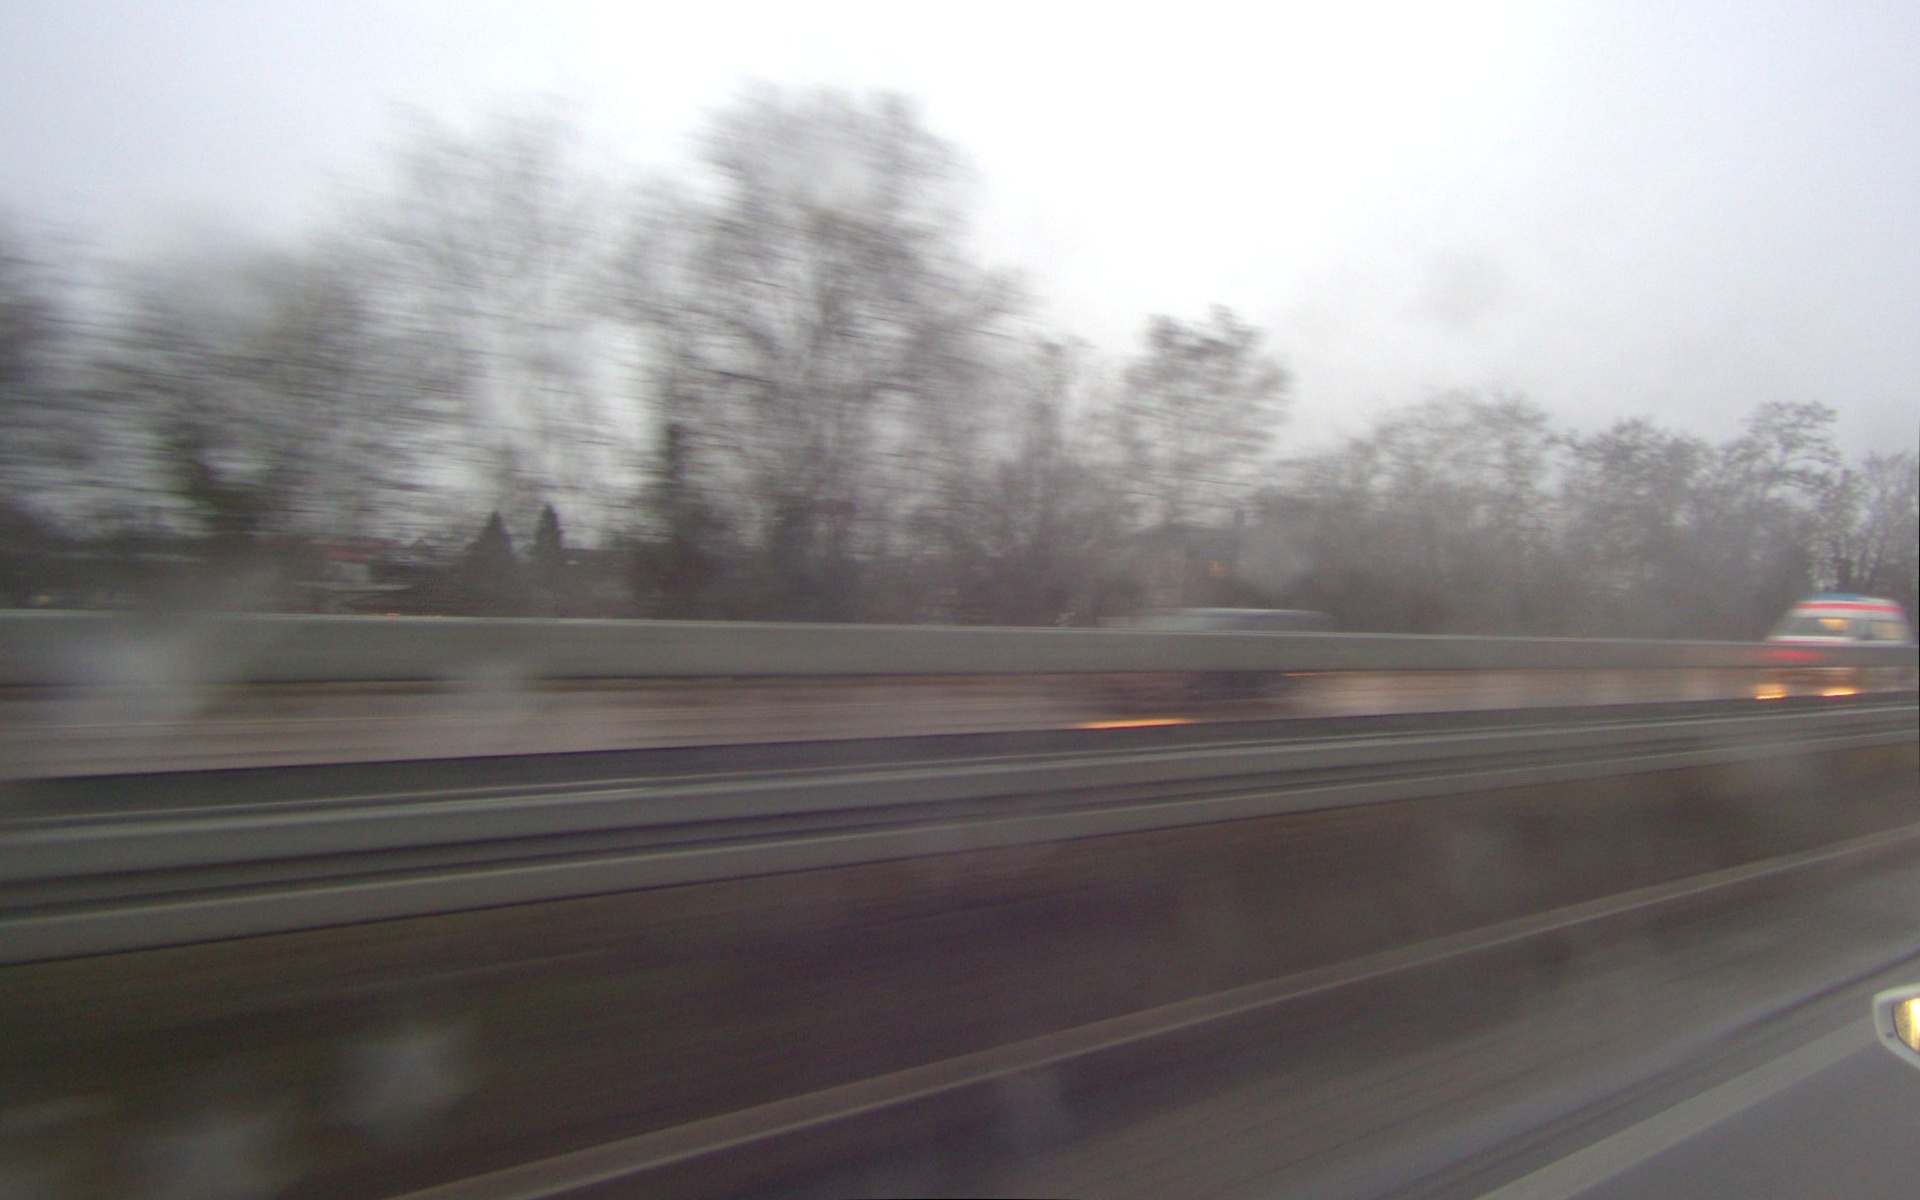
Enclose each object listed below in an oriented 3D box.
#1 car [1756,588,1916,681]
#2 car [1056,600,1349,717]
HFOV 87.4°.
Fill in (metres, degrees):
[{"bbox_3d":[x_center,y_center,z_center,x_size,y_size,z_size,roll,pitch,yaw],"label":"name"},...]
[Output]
[{"bbox_3d":[25.174,0.974,28.811,5.353,2.469,1.836,2,0,-30],"label":"car"},{"bbox_3d":[3.743,0.843,15.332,4.253,1.549,1.837,2,0,-30],"label":"car"}]
